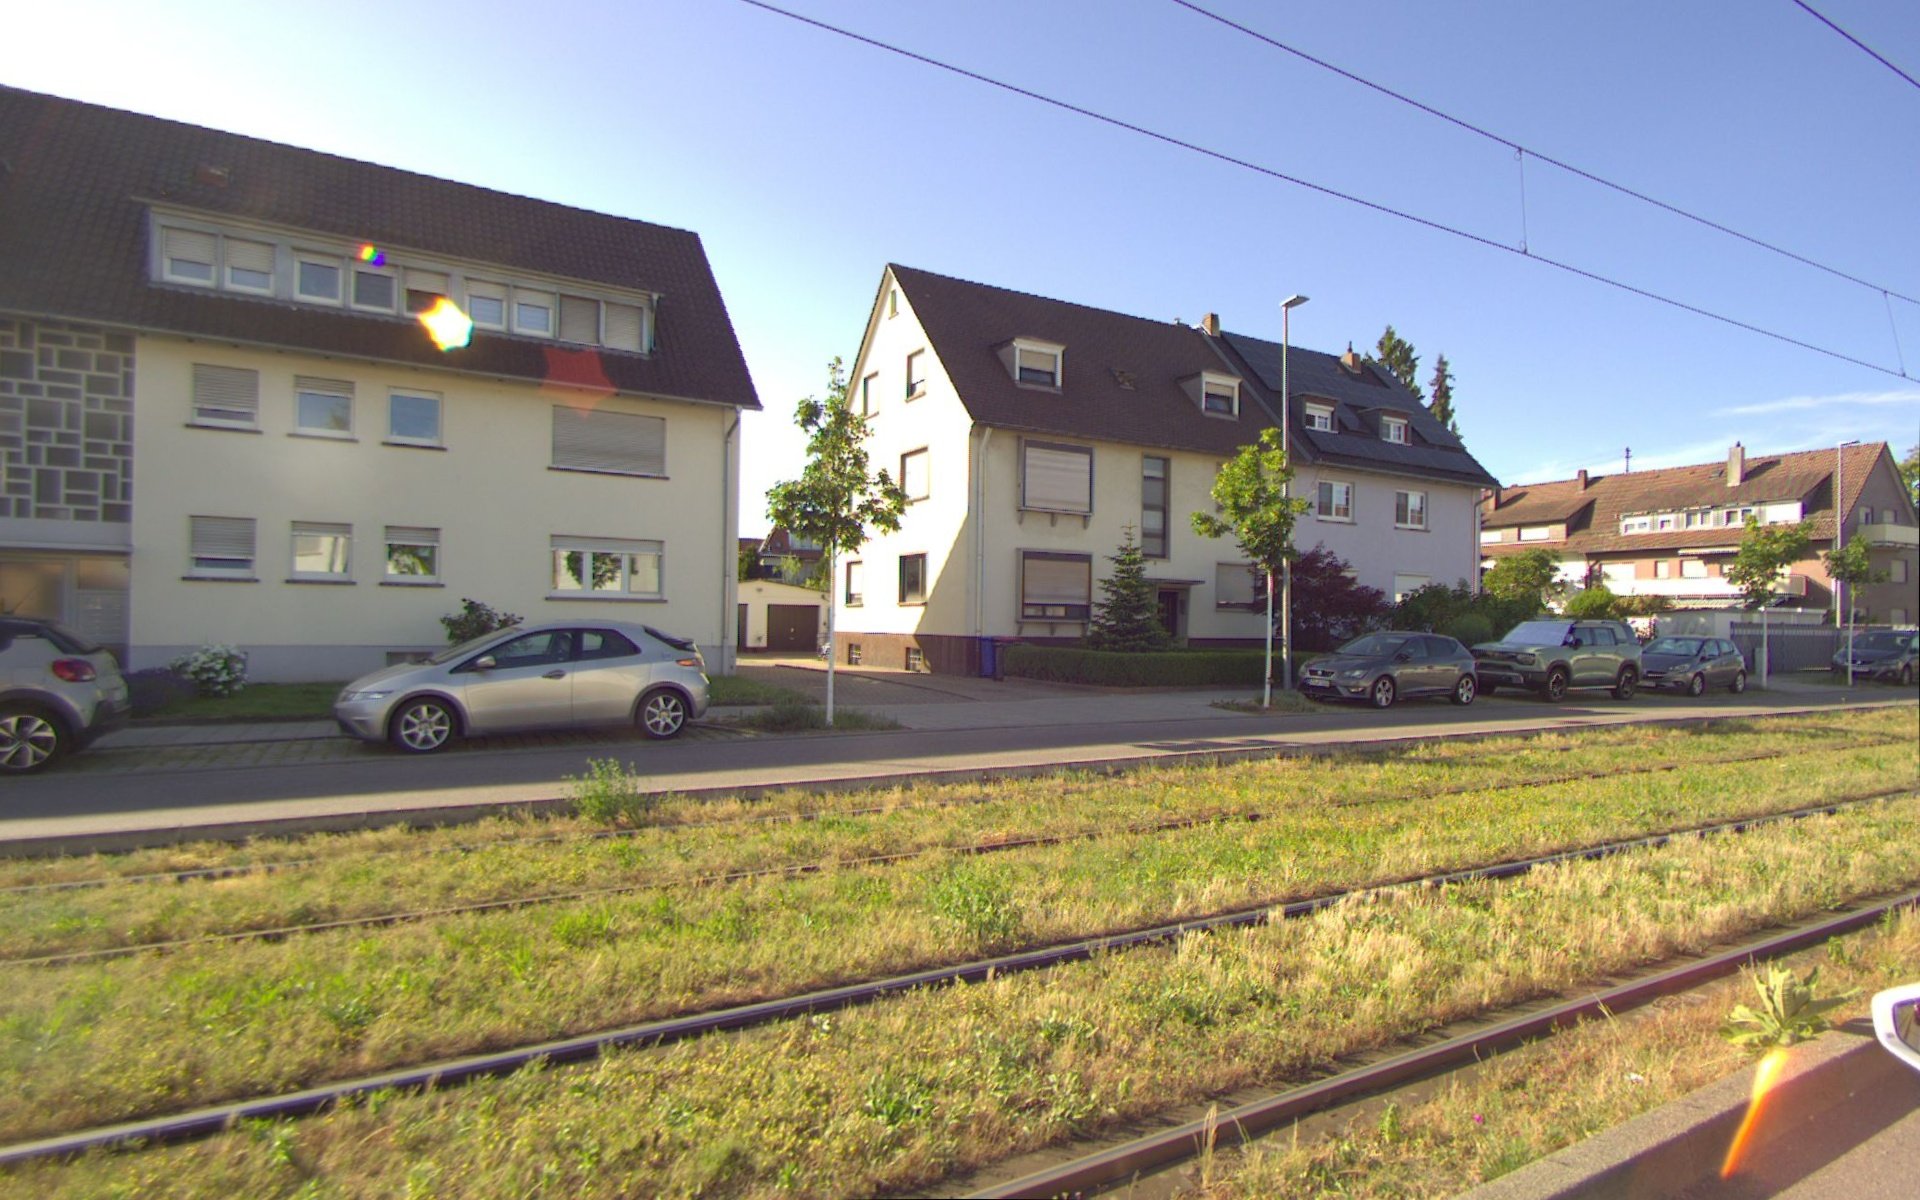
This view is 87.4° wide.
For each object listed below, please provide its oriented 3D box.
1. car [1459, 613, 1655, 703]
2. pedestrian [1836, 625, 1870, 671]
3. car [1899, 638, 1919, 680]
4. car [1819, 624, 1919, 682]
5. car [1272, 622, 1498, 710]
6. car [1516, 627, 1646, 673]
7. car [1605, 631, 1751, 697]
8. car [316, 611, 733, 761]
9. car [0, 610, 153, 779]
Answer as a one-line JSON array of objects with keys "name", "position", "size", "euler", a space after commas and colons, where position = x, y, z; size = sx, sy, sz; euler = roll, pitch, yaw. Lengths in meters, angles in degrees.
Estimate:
[{"name": "car", "position": [13.813, 1.296, 23.176], "size": [4.783, 1.847, 1.737], "euler": [1, 1, -30]}, {"name": "pedestrian", "position": [33.275, 1.785, 37.440], "size": [0.909, 1.662, 0.692], "euler": [2, 0, -32]}, {"name": "car", "position": [35.183, 2.085, 35.588], "size": [4.029, 1.423, 1.688], "euler": [1, -1, -29]}, {"name": "car", "position": [30.099, 1.696, 32.597], "size": [4.787, 1.707, 1.811], "euler": [2, 1, -29]}, {"name": "car", "position": [8.729, 1.303, 20.554], "size": [4.503, 1.561, 1.951], "euler": [2, 0, -30]}, {"name": "car", "position": [21.971, 1.733, 35.674], "size": [1.683, 1.493, 3.598], "euler": [2, -1, -27]}, {"name": "car", "position": [18.690, 1.616, 26.109], "size": [4.005, 1.511, 1.667], "euler": [2, 1, -32]}, {"name": "car", "position": [-5.175, 0.955, 12.222], "size": [4.393, 1.495, 1.679], "euler": [2, 0, -32]}, {"name": "car", "position": [-10.261, 0.838, 9.178], "size": [4.267, 1.492, 1.679], "euler": [2, 0, -32]}]
